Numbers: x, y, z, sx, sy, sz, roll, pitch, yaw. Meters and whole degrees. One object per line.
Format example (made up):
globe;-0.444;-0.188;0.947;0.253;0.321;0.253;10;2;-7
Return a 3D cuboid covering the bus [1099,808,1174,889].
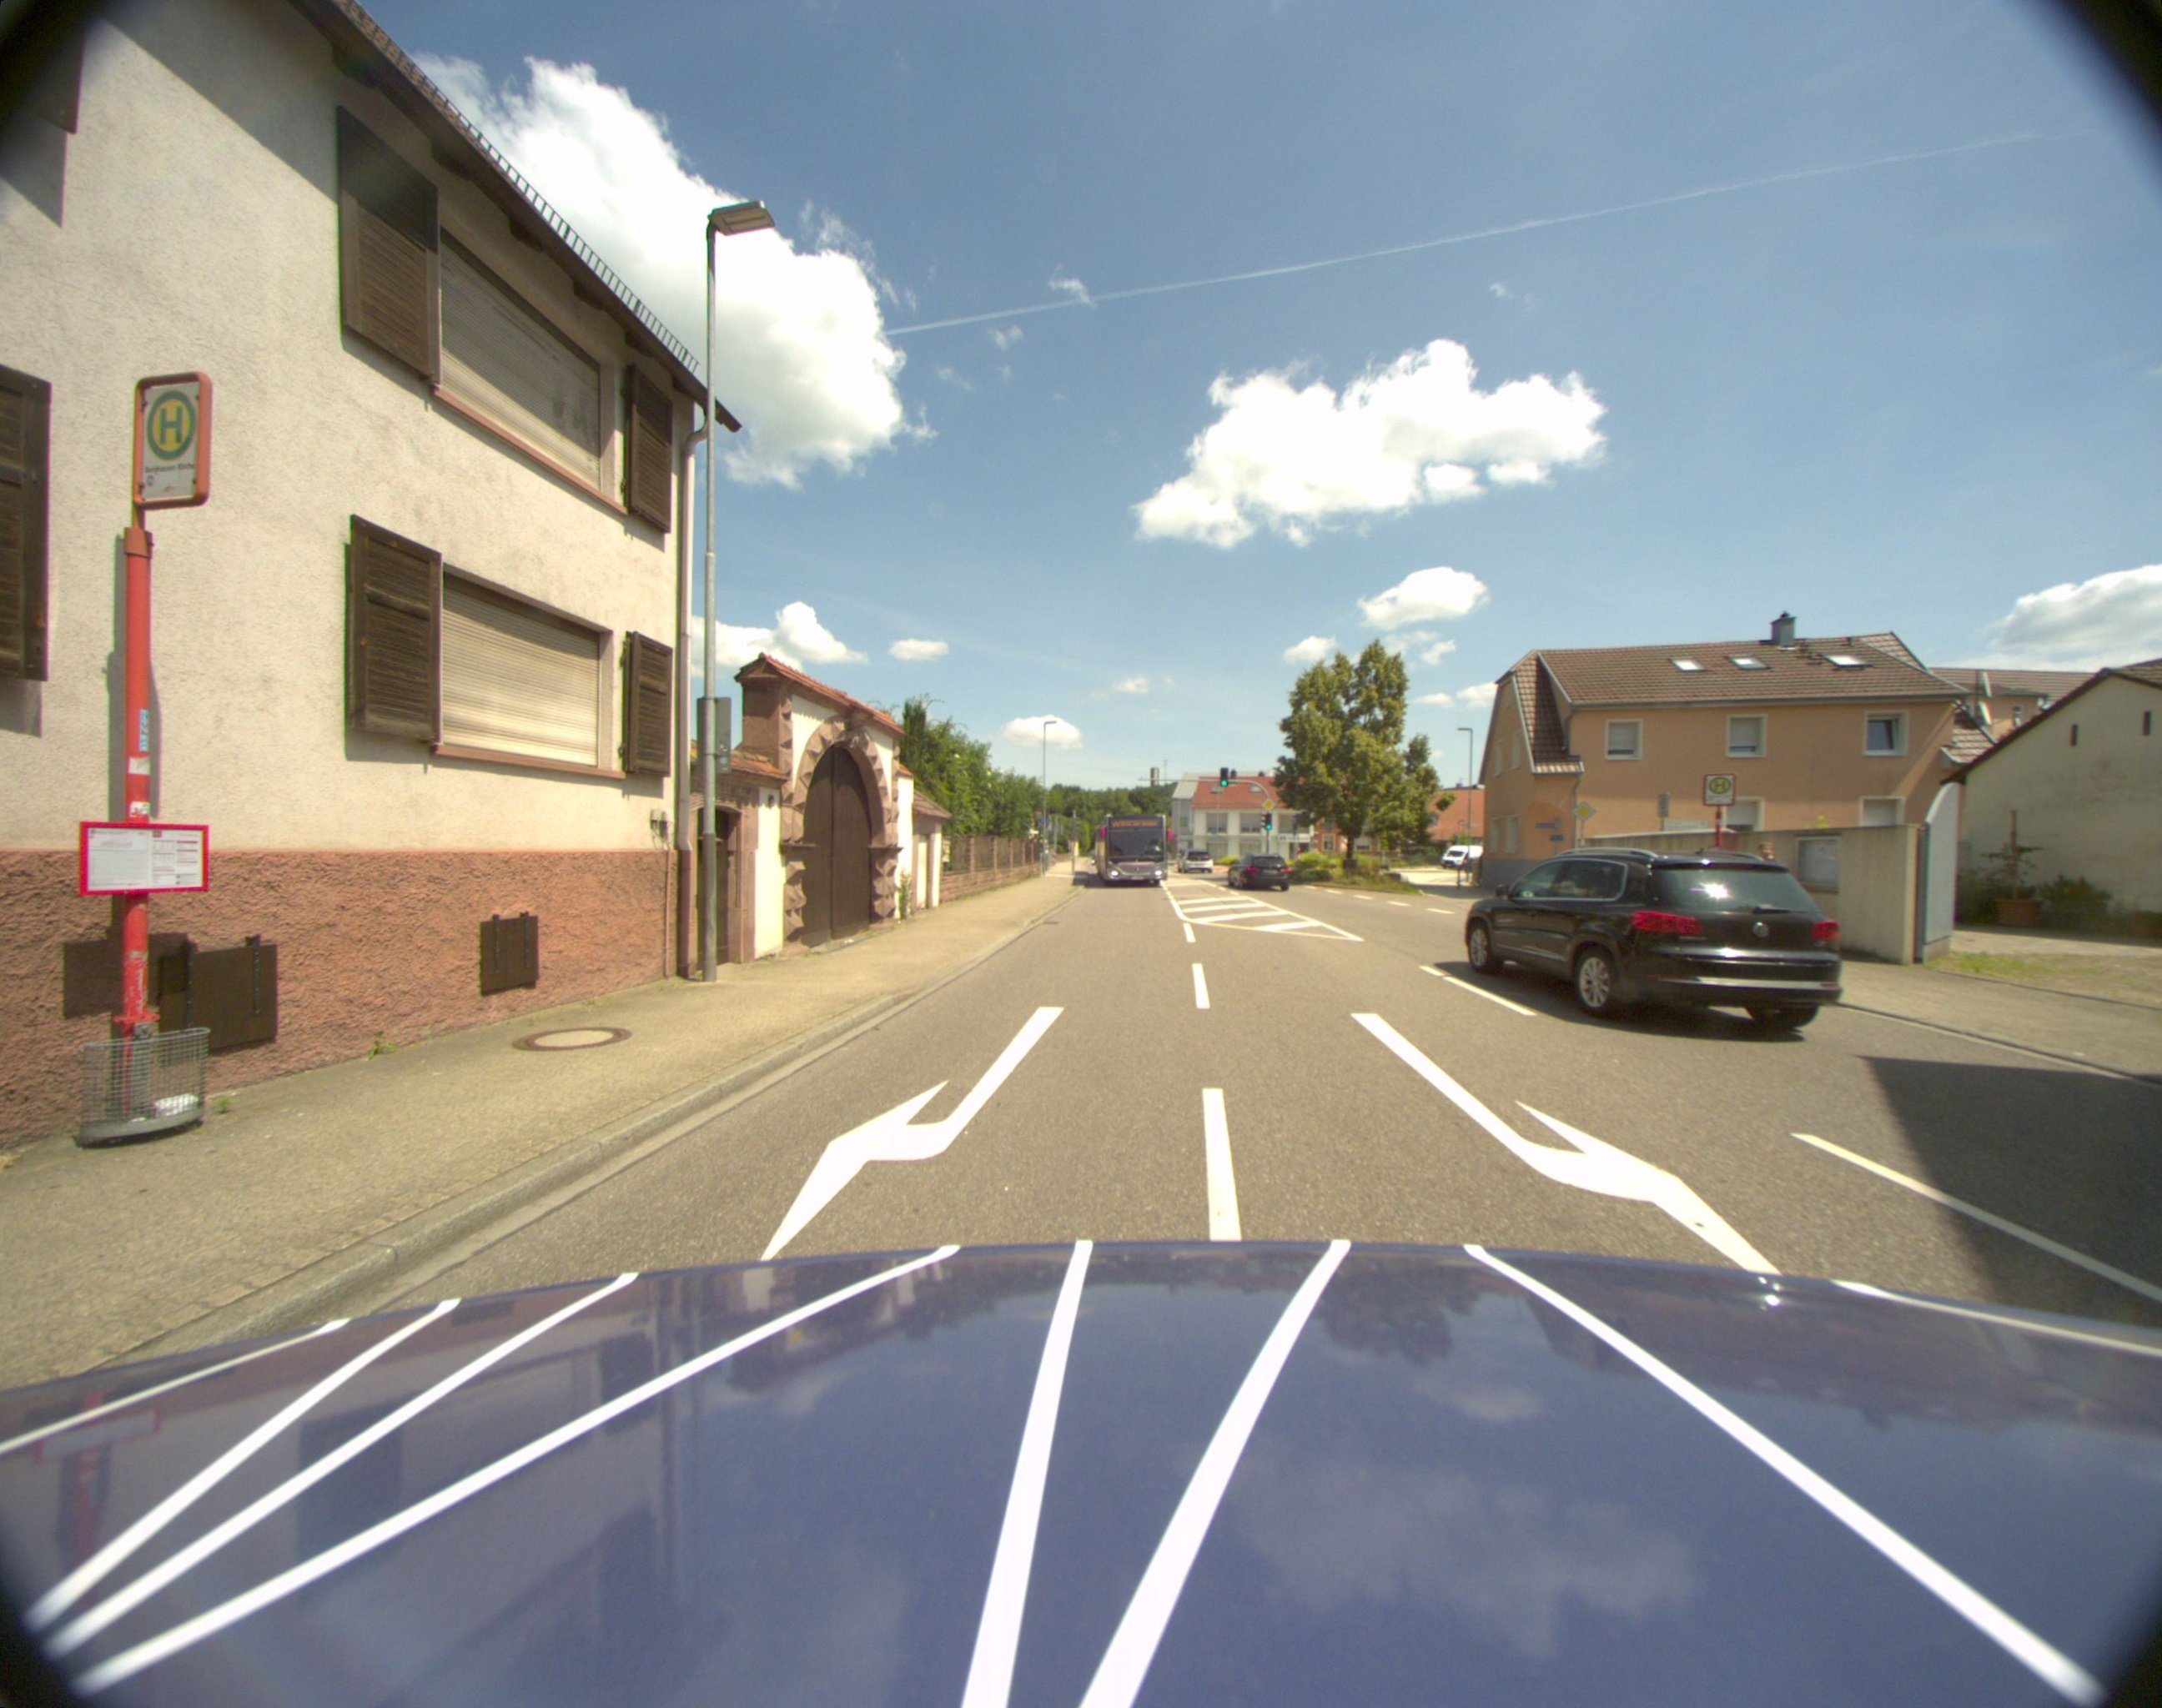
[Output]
bus;2.420;-0.317;39.657;2.859;3.186;19.031;1;1;1

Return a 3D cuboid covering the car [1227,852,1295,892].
car;7.147;0.651;30.637;1.784;1.448;4.531;1;1;2

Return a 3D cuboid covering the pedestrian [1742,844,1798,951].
pedestrian;11.547;0.708;12.750;0.471;1.754;0.478;0;1;-13

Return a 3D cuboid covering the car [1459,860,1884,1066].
car;5.851;0.911;8.277;1.752;1.602;4.001;1;1;5

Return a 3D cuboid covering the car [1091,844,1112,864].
car;1.953;-0.025;70.957;1.787;1.819;4.352;2;1;2

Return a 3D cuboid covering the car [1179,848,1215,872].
car;7.392;0.349;48.926;1.784;1.448;4.531;1;1;2

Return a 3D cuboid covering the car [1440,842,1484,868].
car;38.810;0.081;77.363;5.219;2.432;1.995;-3;1;-39

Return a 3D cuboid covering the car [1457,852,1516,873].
car;34.307;0.709;64.325;3.999;1.641;1.999;-2;1;-6
